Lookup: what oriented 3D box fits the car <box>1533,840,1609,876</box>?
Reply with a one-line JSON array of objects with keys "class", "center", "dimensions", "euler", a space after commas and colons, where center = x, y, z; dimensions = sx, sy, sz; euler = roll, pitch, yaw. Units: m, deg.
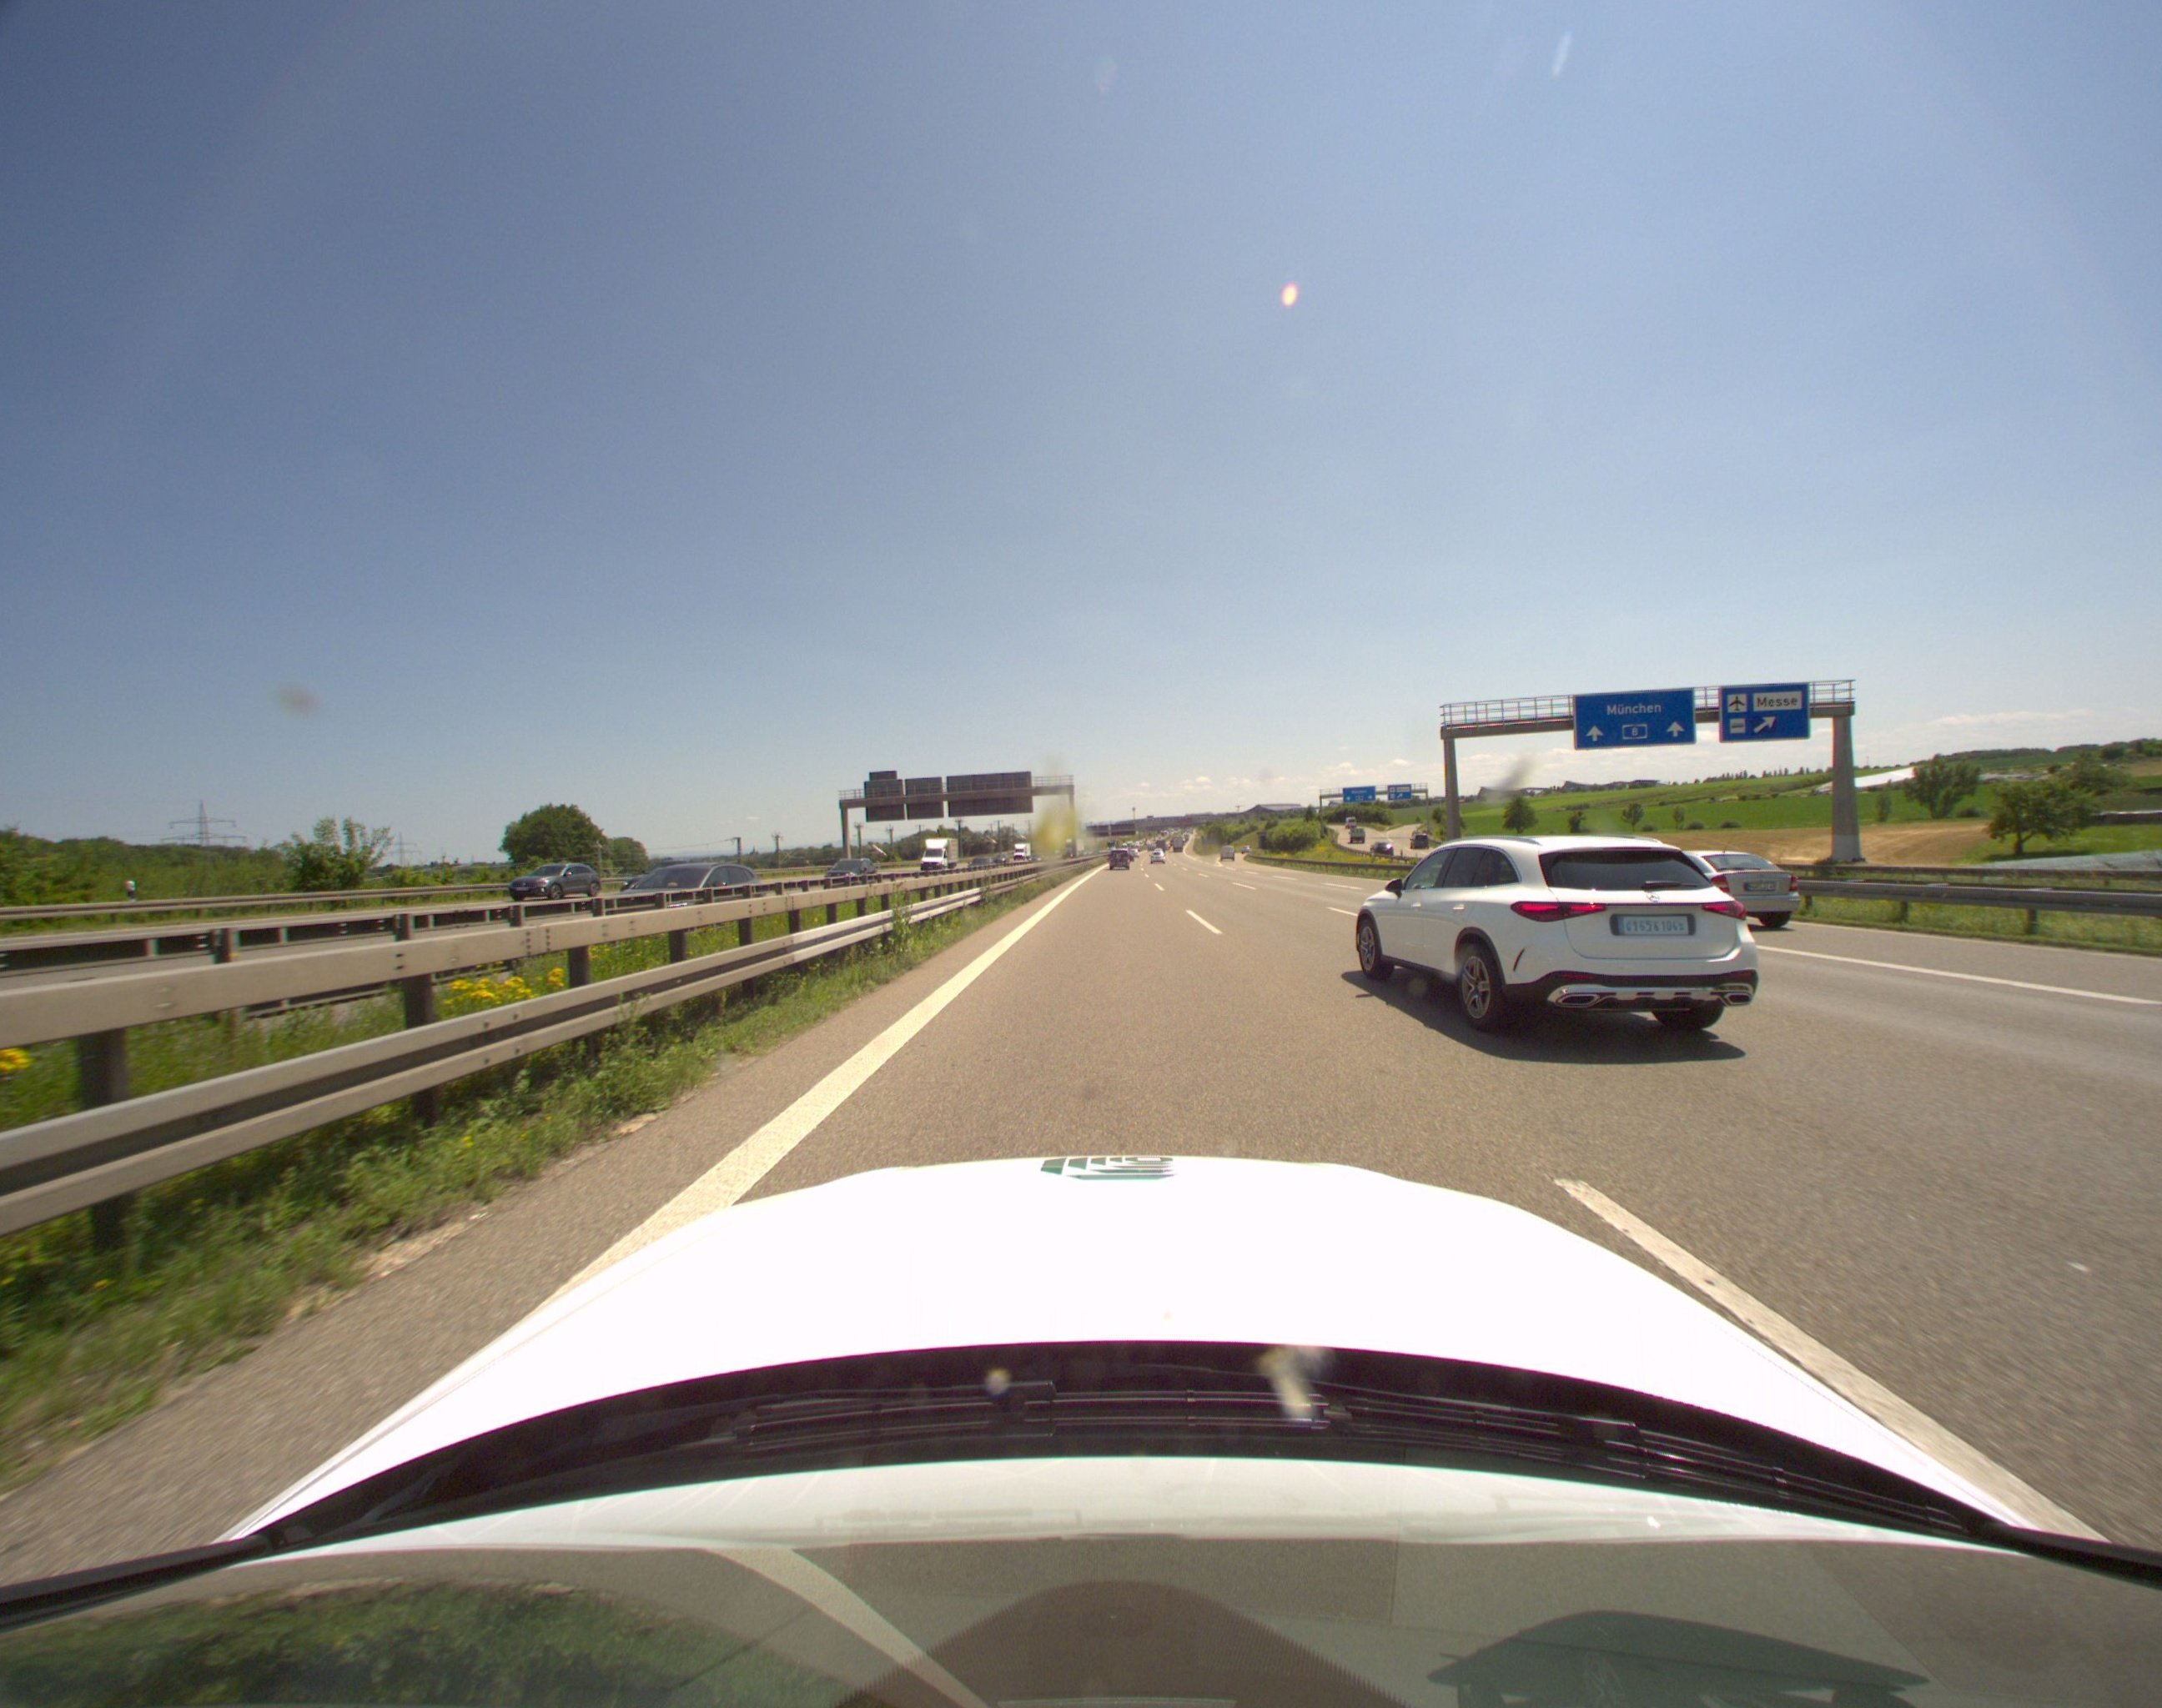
[{"class": "car", "center": [23.584, 0.197, 39.359], "dimensions": [1.690, 1.575, 4.138], "euler": [-1, 0, 8]}]

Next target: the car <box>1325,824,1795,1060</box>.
[{"class": "car", "center": [4.162, 0.643, 8.308], "dimensions": [1.892, 1.647, 4.999], "euler": [-1, 0, 1]}]

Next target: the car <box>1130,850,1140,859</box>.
[{"class": "car", "center": [9.907, 0.088, 149.003], "dimensions": [1.568, 1.552, 3.969], "euler": [-1, 0, 5]}]

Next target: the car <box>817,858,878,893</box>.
[{"class": "car", "center": [-11.367, 1.008, 39.903], "dimensions": [1.669, 1.625, 4.087], "euler": [-1, 0, 2]}]

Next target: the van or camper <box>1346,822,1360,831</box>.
[{"class": "van or camper", "center": [64.393, -6.551, 192.860], "dimensions": [2.512, 2.014, 4.474], "euler": [-1, -1, 11]}]

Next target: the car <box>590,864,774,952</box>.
[{"class": "car", "center": [-8.470, 1.062, 17.786], "dimensions": [1.668, 1.614, 4.365], "euler": [-1, 0, 3]}]

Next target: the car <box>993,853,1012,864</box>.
[{"class": "car", "center": [-10.716, 0.571, 110.903], "dimensions": [1.897, 1.420, 4.004], "euler": [-1, 0, 4]}]

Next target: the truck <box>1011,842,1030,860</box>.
[{"class": "truck", "center": [-11.056, -0.574, 150.260], "dimensions": [2.310, 3.167, 8.122], "euler": [-1, 0, 4]}]

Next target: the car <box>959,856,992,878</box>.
[{"class": "car", "center": [-8.171, 0.992, 63.528], "dimensions": [1.741, 1.625, 4.833], "euler": [-1, 0, 2]}]

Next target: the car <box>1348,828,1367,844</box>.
[{"class": "car", "center": [39.615, -2.565, 116.848], "dimensions": [1.981, 2.014, 4.010], "euler": [-1, -1, 9]}]

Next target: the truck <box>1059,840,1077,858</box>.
[{"class": "truck", "center": [-3.105, -1.296, 195.186], "dimensions": [3.231, 4.209, 7.707], "euler": [-1, 0, 6]}]

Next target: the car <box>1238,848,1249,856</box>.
[{"class": "car", "center": [35.865, -0.407, 180.187], "dimensions": [1.983, 1.693, 4.007], "euler": [-1, 0, 6]}]

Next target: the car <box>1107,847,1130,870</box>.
[{"class": "car", "center": [3.320, 0.437, 72.280], "dimensions": [1.919, 1.919, 4.950], "euler": [-1, 0, 2]}]

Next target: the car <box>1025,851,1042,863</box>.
[{"class": "car", "center": [-6.588, 0.418, 114.114], "dimensions": [1.782, 1.464, 4.864], "euler": [-1, 0, 4]}]

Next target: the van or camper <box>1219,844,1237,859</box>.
[{"class": "van or camper", "center": [19.759, -0.326, 109.751], "dimensions": [2.144, 2.014, 4.313], "euler": [-1, 0, 7]}]

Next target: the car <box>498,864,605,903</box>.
[{"class": "car", "center": [-23.205, 1.242, 35.906], "dimensions": [1.840, 1.531, 4.225], "euler": [-1, 0, 2]}]

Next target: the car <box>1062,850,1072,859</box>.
[{"class": "car", "center": [-2.795, 0.062, 161.596], "dimensions": [1.735, 1.561, 4.004], "euler": [-1, 0, 4]}]

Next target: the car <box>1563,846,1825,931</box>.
[{"class": "car", "center": [12.149, 0.621, 16.665], "dimensions": [1.779, 1.437, 4.848], "euler": [-1, 0, 1]}]

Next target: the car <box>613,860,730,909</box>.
[{"class": "car", "center": [-15.607, 1.110, 31.399], "dimensions": [1.840, 1.655, 4.913], "euler": [-1, 0, 3]}]

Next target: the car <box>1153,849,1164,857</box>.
[{"class": "car", "center": [15.112, -0.247, 158.374], "dimensions": [1.972, 1.473, 4.007], "euler": [-2, 0, 6]}]

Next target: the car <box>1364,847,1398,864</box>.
[{"class": "car", "center": [29.976, 0.133, 81.524], "dimensions": [1.986, 1.596, 4.002], "euler": [-1, 0, 2]}]

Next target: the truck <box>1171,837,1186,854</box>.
[{"class": "truck", "center": [25.977, -2.293, 217.435], "dimensions": [4.018, 4.261, 11.780], "euler": [-1, 2, 6]}]

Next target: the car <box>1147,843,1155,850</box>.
[{"class": "car", "center": [20.854, -2.174, 242.859], "dimensions": [2.176, 2.003, 4.006], "euler": [-1, 1, 5]}]

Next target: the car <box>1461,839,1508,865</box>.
[{"class": "car", "center": [31.510, -0.147, 63.758], "dimensions": [1.929, 1.923, 4.187], "euler": [-1, 0, 6]}]

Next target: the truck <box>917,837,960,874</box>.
[{"class": "truck", "center": [-13.261, 0.130, 76.511], "dimensions": [2.367, 3.277, 7.664], "euler": [-1, 0, 2]}]

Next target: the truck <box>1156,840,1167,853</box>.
[{"class": "truck", "center": [20.957, -1.990, 211.103], "dimensions": [2.689, 3.109, 10.677], "euler": [-1, 0, 6]}]

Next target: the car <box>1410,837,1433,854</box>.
[{"class": "car", "center": [40.501, -1.033, 96.920], "dimensions": [1.925, 1.923, 4.195], "euler": [-1, -1, 14]}]

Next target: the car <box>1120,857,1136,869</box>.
[{"class": "car", "center": [6.586, 1.243, 114.320], "dimensions": [1.917, 1.627, 4.525], "euler": [-1, 0, 6]}]

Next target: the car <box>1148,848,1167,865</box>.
[{"class": "car", "center": [9.145, 0.297, 97.953], "dimensions": [1.919, 1.919, 4.519], "euler": [-1, 0, 2]}]

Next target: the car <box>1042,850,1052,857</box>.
[{"class": "car", "center": [-8.452, -0.149, 202.256], "dimensions": [1.796, 1.748, 4.006], "euler": [-1, 0, 5]}]
